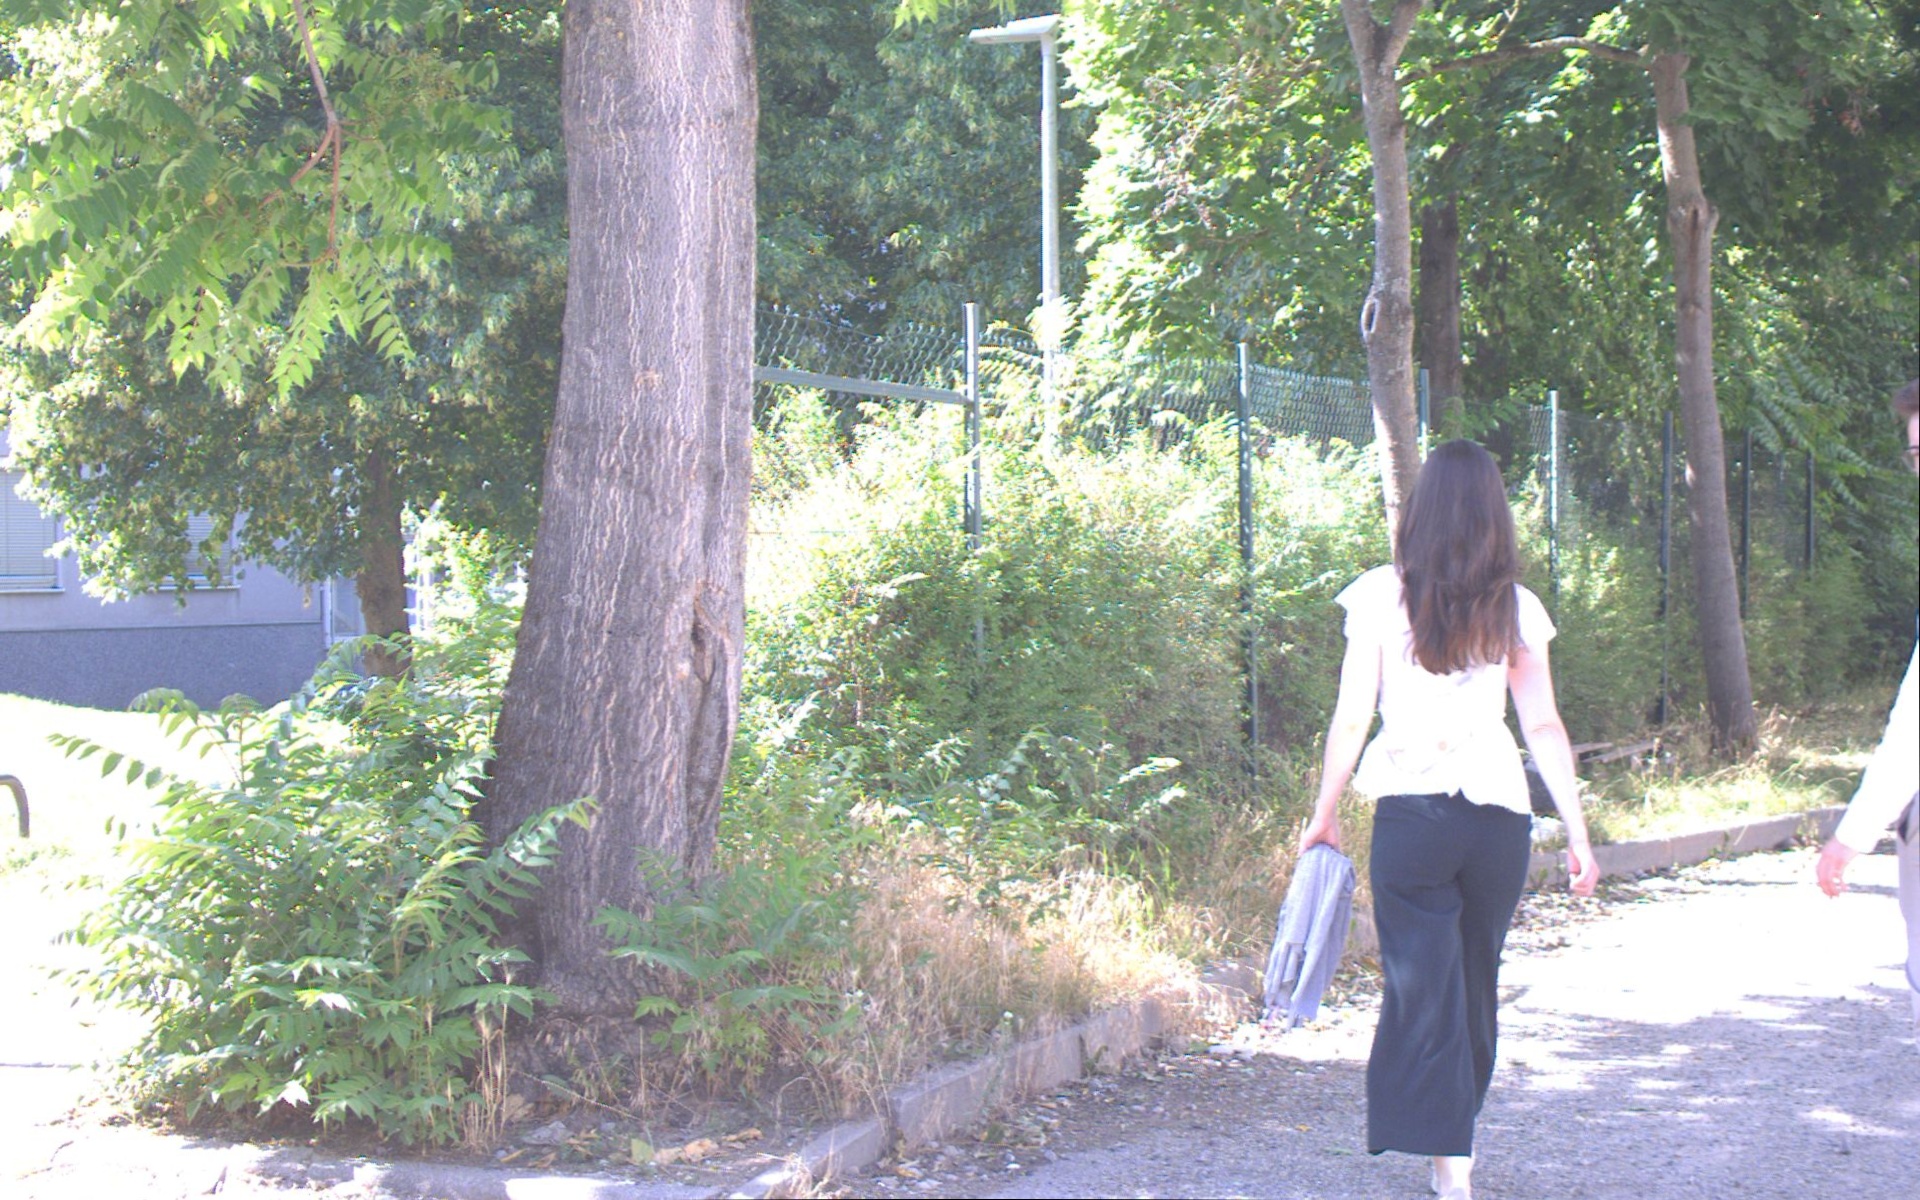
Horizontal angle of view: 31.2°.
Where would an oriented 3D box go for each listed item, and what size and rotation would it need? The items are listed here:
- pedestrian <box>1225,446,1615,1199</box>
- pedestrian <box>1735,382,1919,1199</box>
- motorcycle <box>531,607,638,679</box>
[{"bbox_3d":[0.942,0.508,7.199,0.735,1.634,0.781,-1,2,4],"label":"pedestrian"},{"bbox_3d":[1.909,0.464,6.427,0.755,1.722,0.854,-1,2,4],"label":"pedestrian"},{"bbox_3d":[-6.756,0.765,61.944,0.629,1.242,2.058,0,1,39],"label":"motorcycle"}]
